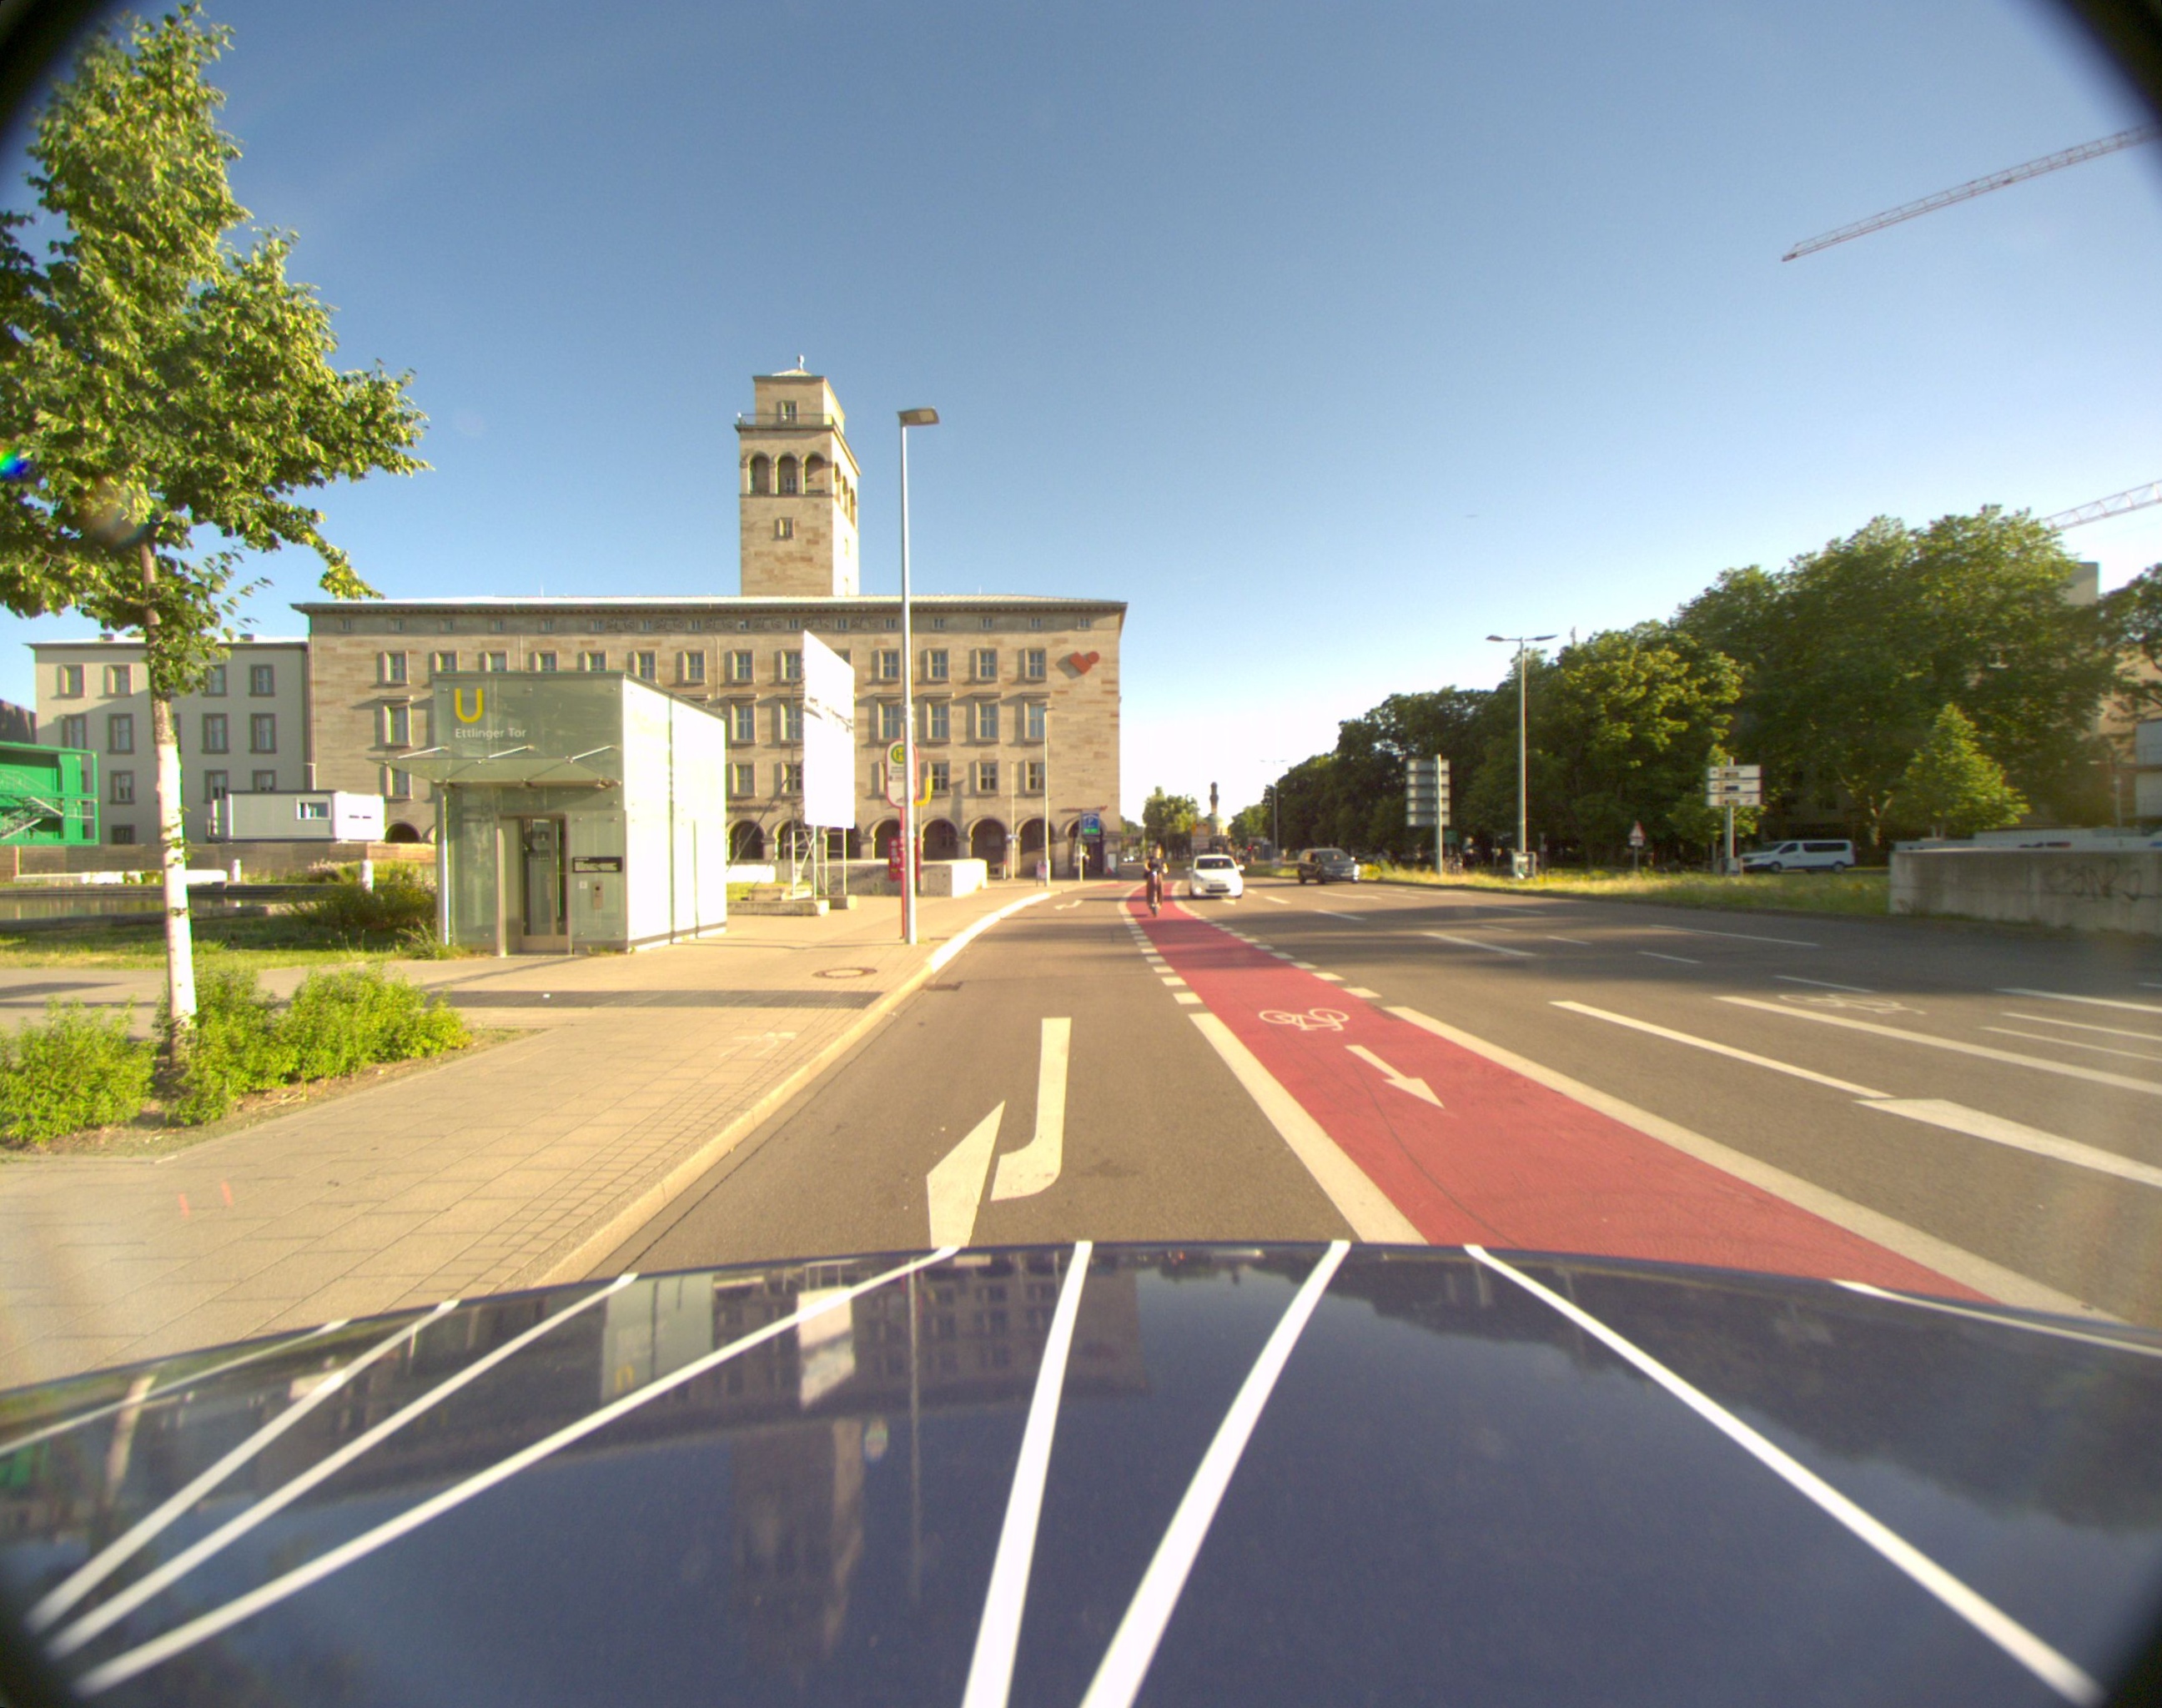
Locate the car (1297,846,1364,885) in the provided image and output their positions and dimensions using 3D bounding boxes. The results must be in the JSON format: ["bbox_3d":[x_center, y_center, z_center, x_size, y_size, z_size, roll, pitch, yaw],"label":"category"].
[{"bbox_3d":[11.277,0.485,34.611,1.733,1.629,4.000,-2,0,1],"label":"car"}]

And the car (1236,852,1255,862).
[{"bbox_3d":[25.912,0.448,119.793,1.938,1.517,4.587,-1,0,0],"label":"car"}]

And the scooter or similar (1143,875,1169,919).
[{"bbox_3d":[1.882,1.066,19.041,0.556,1.025,1.118,0,0,11],"label":"scooter or similar"}]

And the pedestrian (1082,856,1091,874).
[{"bbox_3d":[0.498,1.012,70.006,0.778,1.560,0.952,0,0,-2],"label":"pedestrian"}]

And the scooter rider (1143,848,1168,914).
[{"bbox_3d":[1.868,0.665,18.998,0.562,1.622,0.650,0,1,10],"label":"scooter rider"}]

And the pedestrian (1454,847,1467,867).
[{"bbox_3d":[32.842,0.246,65.800,0.773,1.730,0.761,-1,1,3],"label":"pedestrian"}]

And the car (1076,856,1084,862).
[{"bbox_3d":[-0.157,1.192,189.619,1.999,1.564,4.549,0,0,0],"label":"car"}]

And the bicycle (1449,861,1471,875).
[{"bbox_3d":[24.513,0.913,49.162,0.613,0.856,1.951,-1,0,5],"label":"bicycle"}]

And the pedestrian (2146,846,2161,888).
[{"bbox_3d":[40.026,0.468,27.937,0.581,1.549,0.835,0,0,-2],"label":"pedestrian"}]

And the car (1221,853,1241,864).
[{"bbox_3d":[21.266,0.666,107.756,1.999,1.555,4.060,0,0,0],"label":"car"}]

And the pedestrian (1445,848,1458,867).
[{"bbox_3d":[32.059,0.319,65.718,0.744,1.631,0.726,-1,1,3],"label":"pedestrian"}]

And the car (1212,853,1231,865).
[{"bbox_3d":[21.005,0.733,113.853,1.999,1.666,4.549,0,0,0],"label":"car"}]

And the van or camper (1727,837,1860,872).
[{"bbox_3d":[42.285,0.006,45.203,5.677,2.002,2.257,0,2,1],"label":"van or camper"}]

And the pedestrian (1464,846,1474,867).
[{"bbox_3d":[33.616,0.210,65.780,0.525,1.730,0.655,-1,1,3],"label":"pedestrian"}]

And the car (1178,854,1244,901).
[{"bbox_3d":[4.458,0.764,26.466,1.678,1.455,3.765,-2,0,1],"label":"car"}]

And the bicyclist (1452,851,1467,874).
[{"bbox_3d":[24.493,0.539,49.166,0.608,1.480,0.681,-1,0,5],"label":"bicyclist"}]
